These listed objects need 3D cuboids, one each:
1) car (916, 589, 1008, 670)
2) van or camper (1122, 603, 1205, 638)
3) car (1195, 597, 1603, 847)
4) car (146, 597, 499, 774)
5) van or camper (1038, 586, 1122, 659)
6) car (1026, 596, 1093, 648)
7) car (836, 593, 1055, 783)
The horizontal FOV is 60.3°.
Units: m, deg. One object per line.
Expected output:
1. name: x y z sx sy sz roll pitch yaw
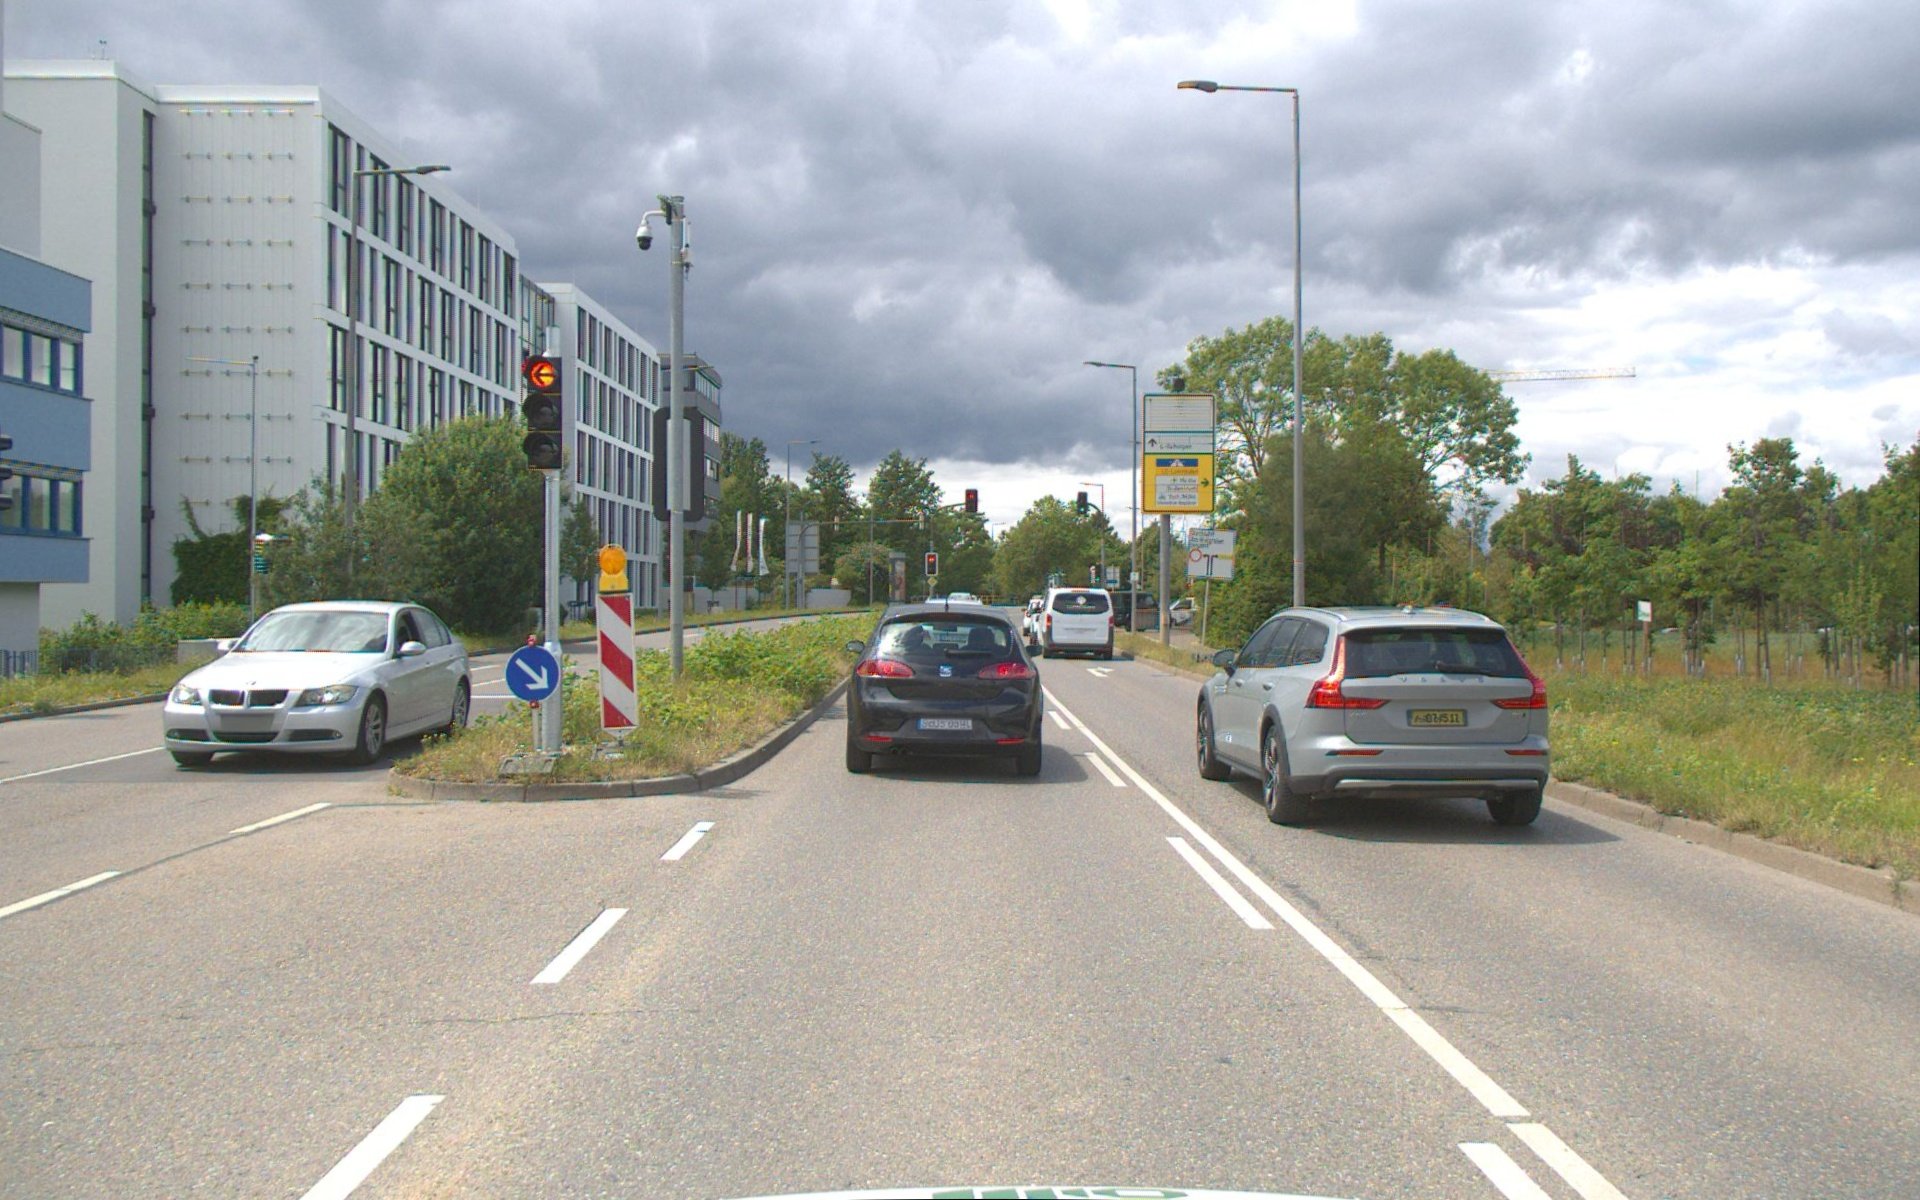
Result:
1. car: 0.018 0.552 33.027 1.737 1.517 3.582 0 0 0
2. van or camper: 12.062 1.205 98.271 4.703 2.049 1.999 1 0 -1
3. car: 3.057 0.755 12.537 1.825 1.545 4.445 0 0 -1
4. car: -5.931 0.708 16.016 1.755 1.473 4.421 0 0 -1
5. van or camper: 3.213 0.580 45.237 1.953 1.892 4.943 1 0 0
6. car: 3.275 0.698 55.204 1.953 1.660 3.999 1 0 -1
7. car: -0.067 0.706 15.194 1.736 1.477 3.583 2 0 2
